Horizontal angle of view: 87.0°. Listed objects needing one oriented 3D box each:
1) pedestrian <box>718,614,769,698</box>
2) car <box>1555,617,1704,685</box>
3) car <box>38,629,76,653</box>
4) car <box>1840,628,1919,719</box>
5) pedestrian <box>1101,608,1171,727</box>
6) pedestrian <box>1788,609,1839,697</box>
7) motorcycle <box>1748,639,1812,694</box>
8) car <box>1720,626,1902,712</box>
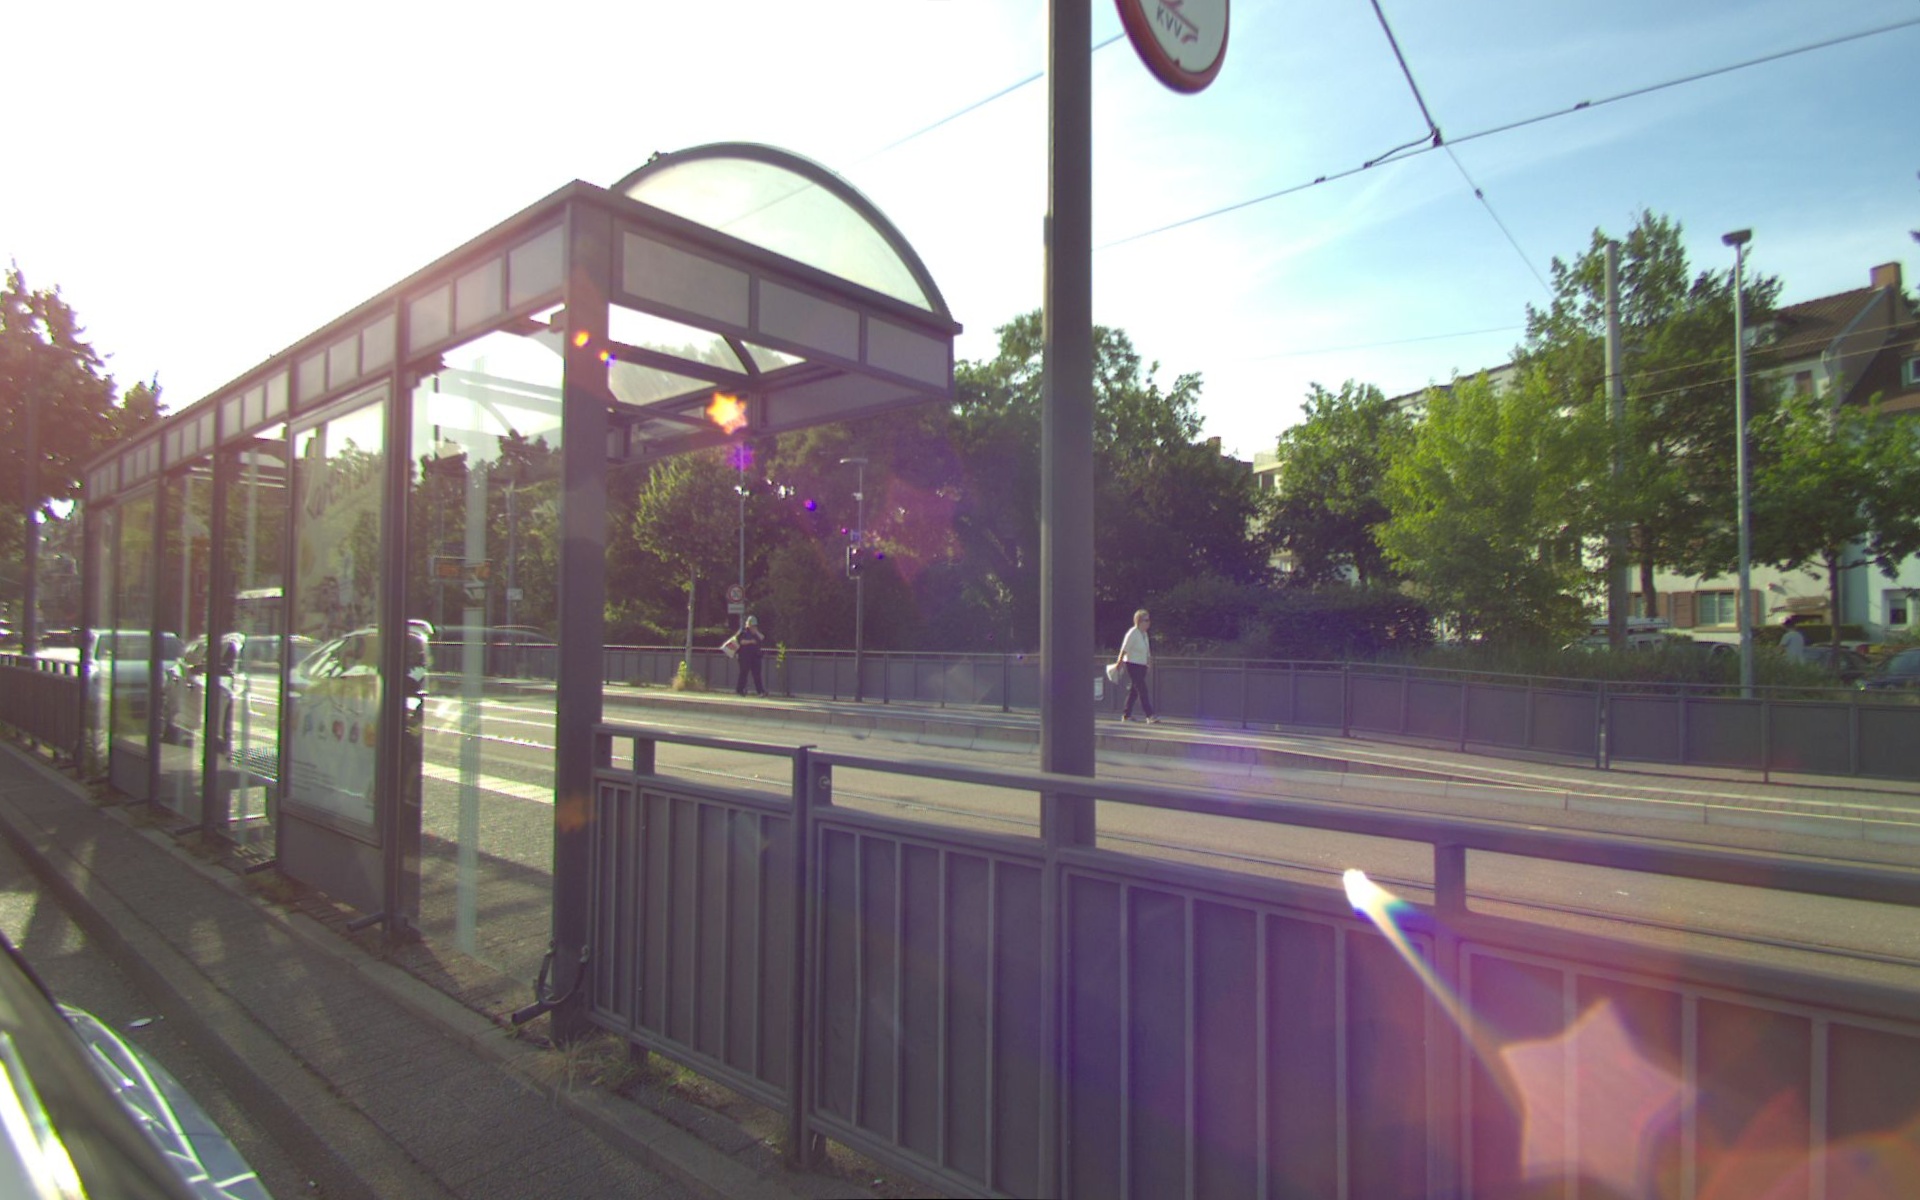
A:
[{"bbox_3d":[-4.359,1.121,20.396,0.689,1.640,0.727,-2,-3,41],"label":"pedestrian"},{"bbox_3d":[18.454,1.392,27.889,3.931,1.767,1.860,2,-3,-30],"label":"car"},{"bbox_3d":[-80.530,3.641,90.282,3.997,2.029,1.973,-2,-3,41],"label":"car"},{"bbox_3d":[20.211,1.493,20.919,3.931,1.767,1.860,2,-3,-30],"label":"car"},{"bbox_3d":[2.514,0.947,14.467,0.727,1.640,0.699,-2,-3,41],"label":"pedestrian"},{"bbox_3d":[16.491,1.021,19.556,0.669,1.668,0.367,-1,-3,34],"label":"pedestrian"},{"bbox_3d":[16.063,1.290,19.842,0.919,1.059,0.495,-1,-3,35],"label":"motorcycle"},{"bbox_3d":[18.999,1.488,22.571,3.931,1.767,1.860,2,-3,-30],"label":"car"}]
